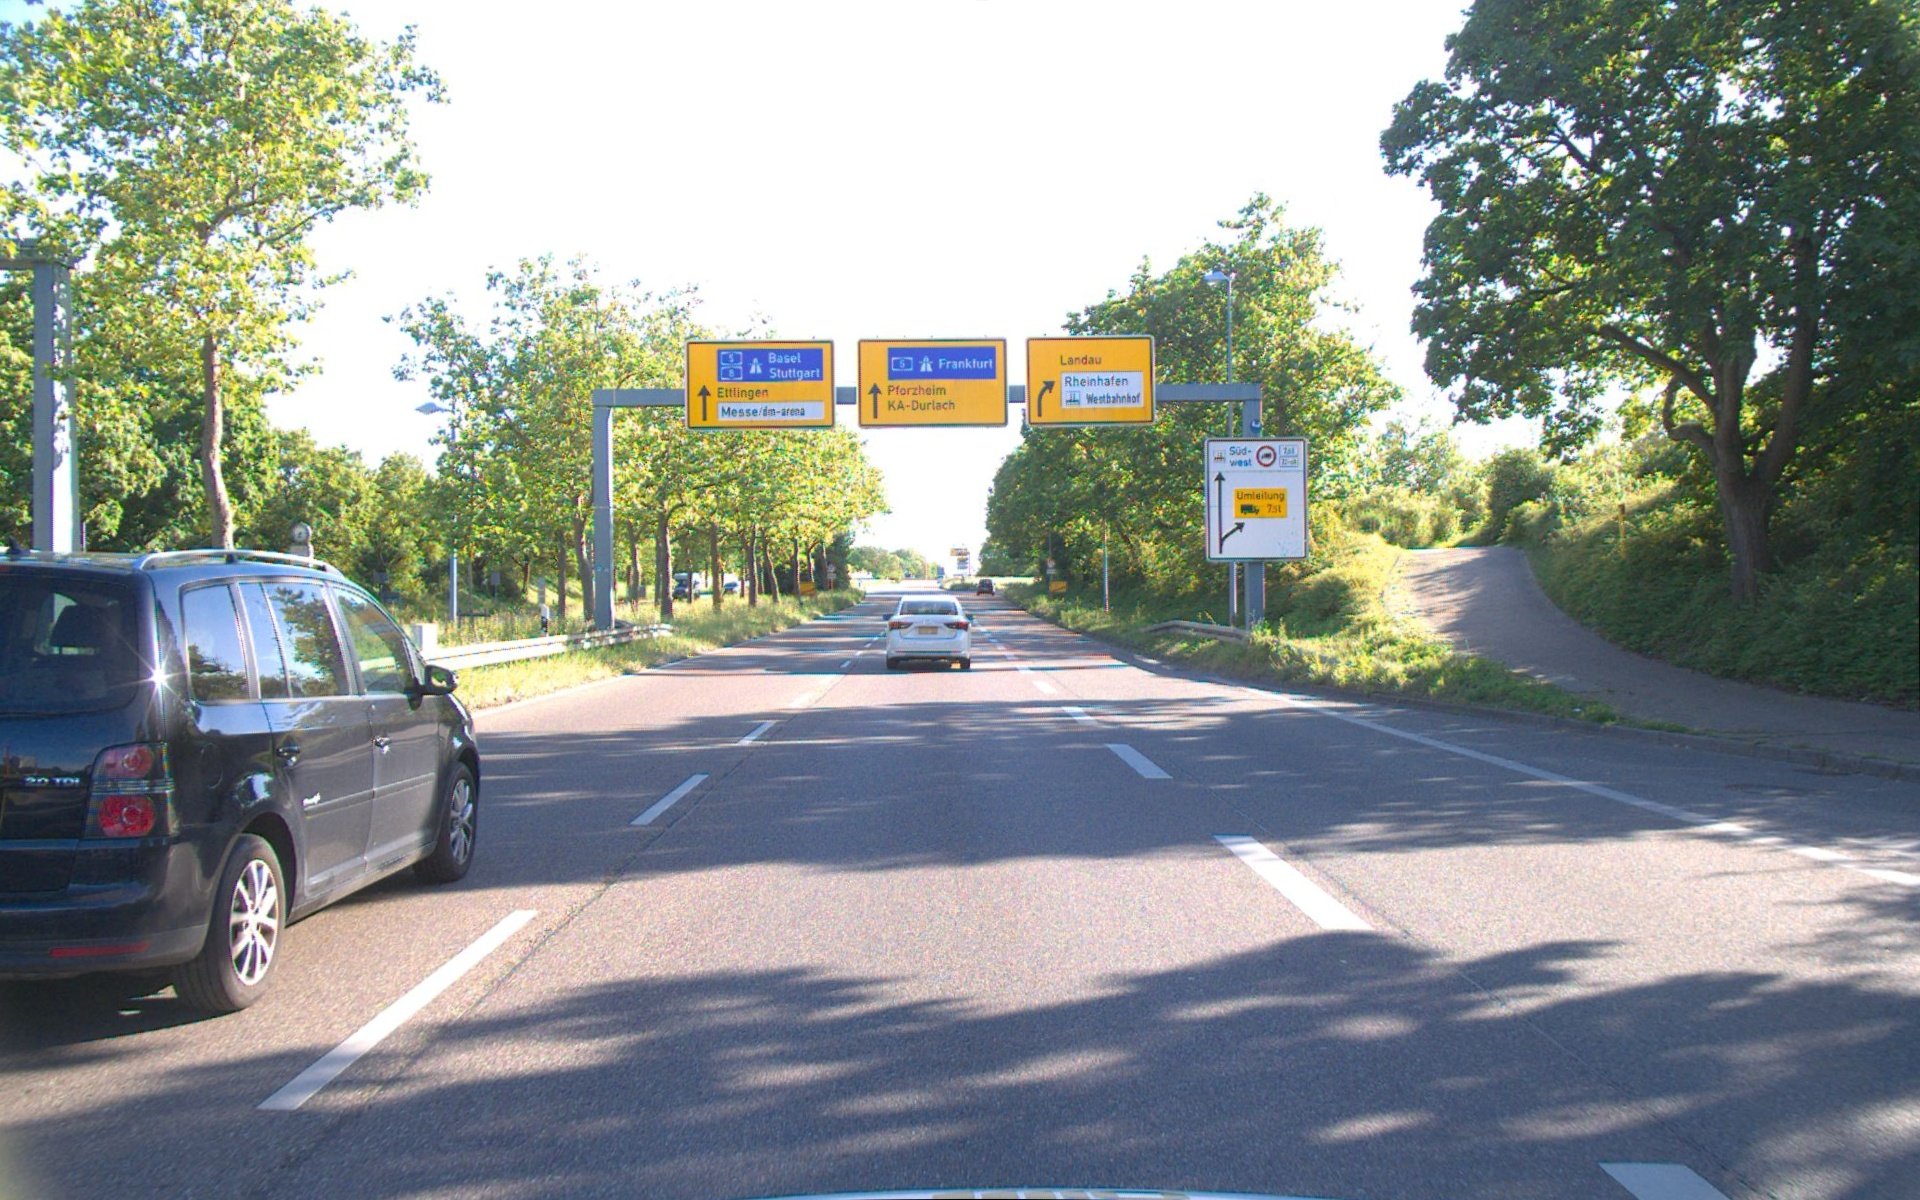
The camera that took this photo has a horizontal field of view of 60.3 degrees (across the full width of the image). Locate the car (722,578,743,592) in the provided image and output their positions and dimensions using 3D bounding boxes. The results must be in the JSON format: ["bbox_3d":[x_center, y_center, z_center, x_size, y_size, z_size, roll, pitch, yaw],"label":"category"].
[{"bbox_3d":[-24.911,-1.687,180.910,1.731,1.489,4.365,-1,0,-1],"label":"car"}]

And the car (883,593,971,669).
[{"bbox_3d":[-0.657,0.610,35.291,1.731,1.489,4.366,-1,0,0],"label":"car"}]

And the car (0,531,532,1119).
[{"bbox_3d":[-3.343,0.632,7.158,1.731,1.673,4.922,0,0,-1],"label":"car"}]

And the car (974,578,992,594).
[{"bbox_3d":[2.286,-1.369,163.494,1.731,1.489,4.366,-1,0,1],"label":"car"}]
